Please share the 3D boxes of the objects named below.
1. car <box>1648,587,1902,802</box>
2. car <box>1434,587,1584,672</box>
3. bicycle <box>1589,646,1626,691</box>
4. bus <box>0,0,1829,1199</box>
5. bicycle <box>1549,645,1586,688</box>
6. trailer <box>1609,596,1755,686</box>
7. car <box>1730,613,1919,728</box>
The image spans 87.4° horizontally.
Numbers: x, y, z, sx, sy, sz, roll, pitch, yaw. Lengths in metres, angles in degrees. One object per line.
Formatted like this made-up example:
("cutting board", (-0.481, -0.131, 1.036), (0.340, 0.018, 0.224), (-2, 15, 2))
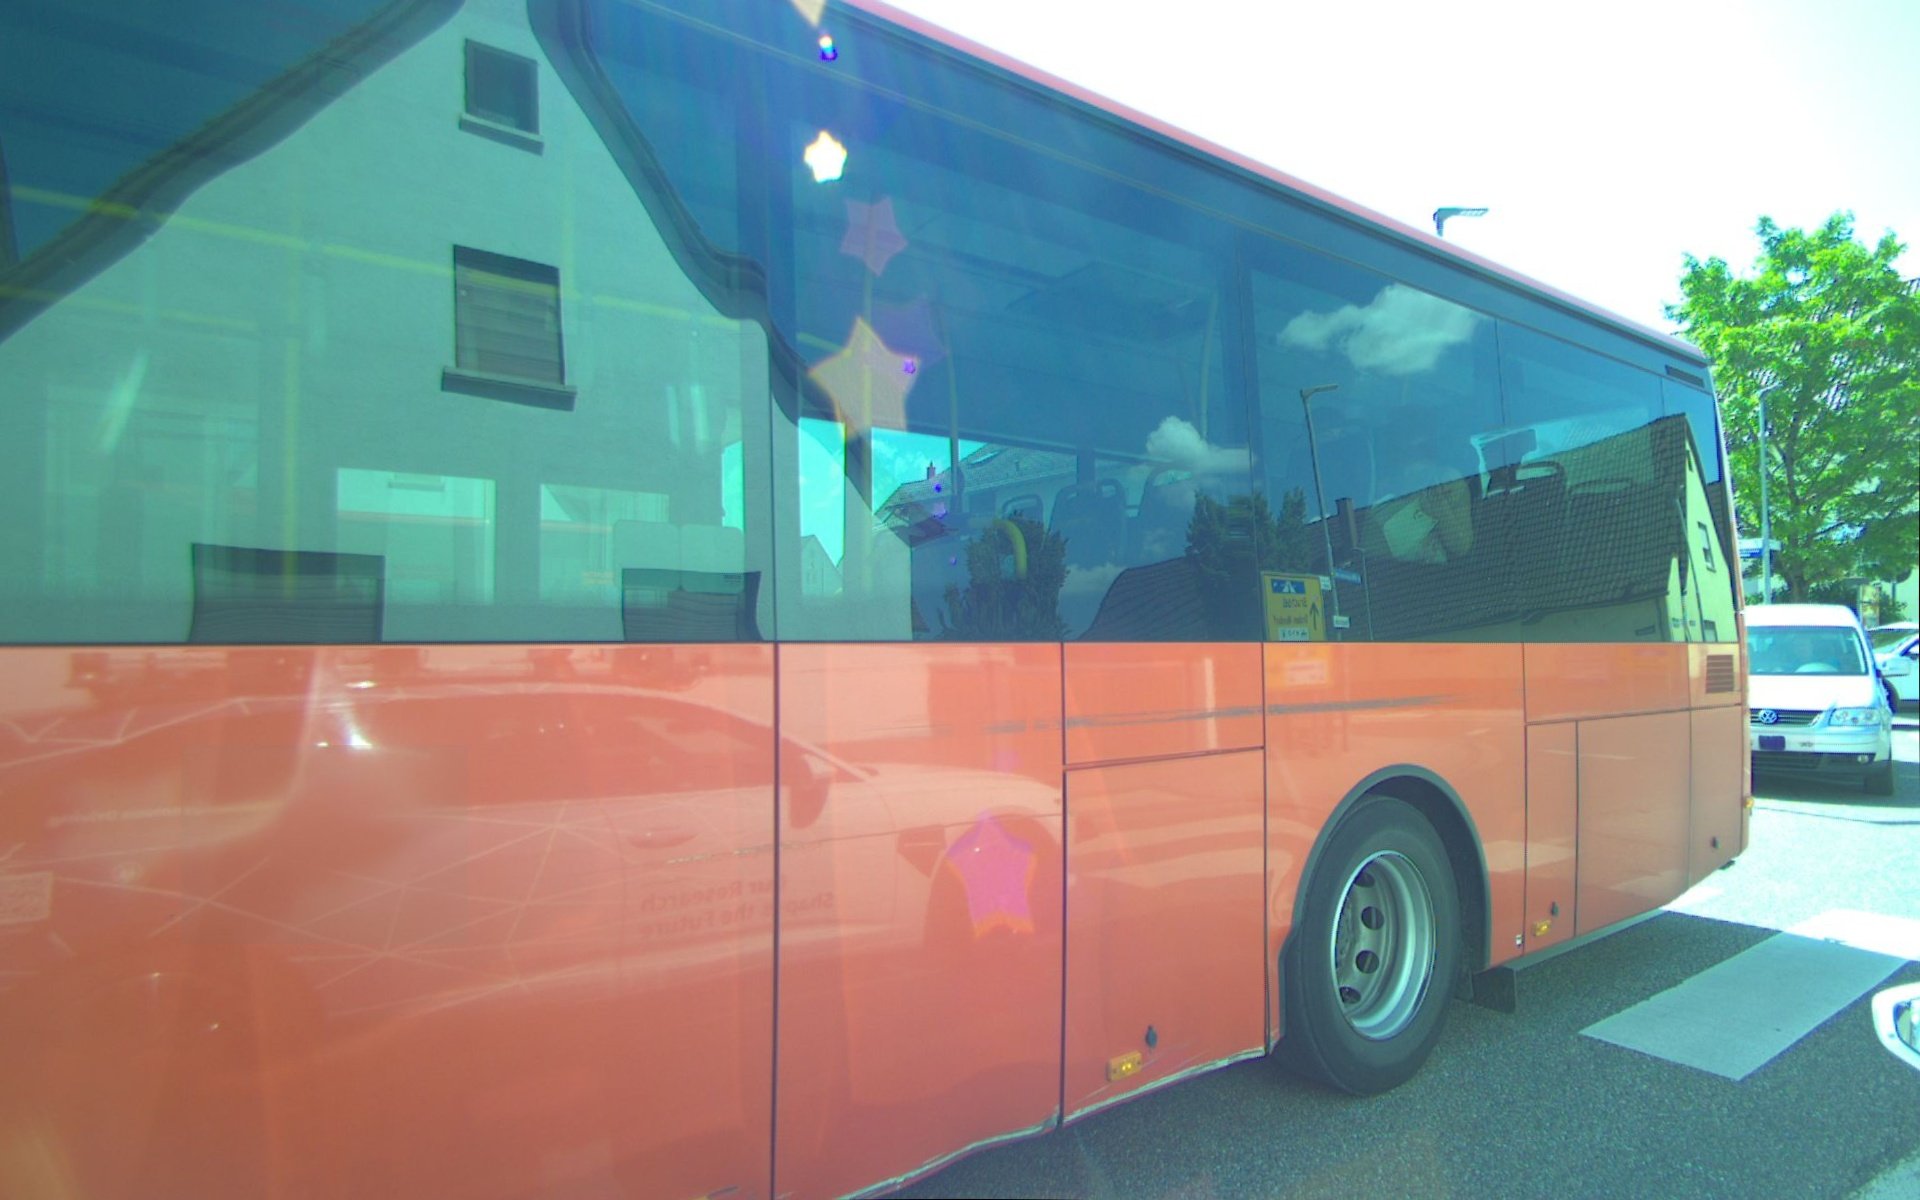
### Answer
("car", (8.834, 0.907, 10.875), (1.752, 1.845, 4.419), (-3, -3, 41))
("car", (18.103, 0.954, 33.040), (5.587, 2.601, 1.925), (1, 0, -34))
("bicycle", (16.408, 1.725, 25.434), (0.396, 1.017, 1.970), (-1, 0, 44))
("bus", (-1.084, -0.066, 2.969), (11.902, 3.274, 2.610), (1, -4, -35))
("bicycle", (15.769, 1.708, 26.062), (0.396, 1.017, 1.970), (-1, 0, 44))
("trailer", (20.401, 1.120, 28.339), (4.475, 2.366, 1.868), (1, 0, -33))
("car", (15.269, 1.095, 15.937), (4.450, 1.732, 1.873), (0, -1, 11))
